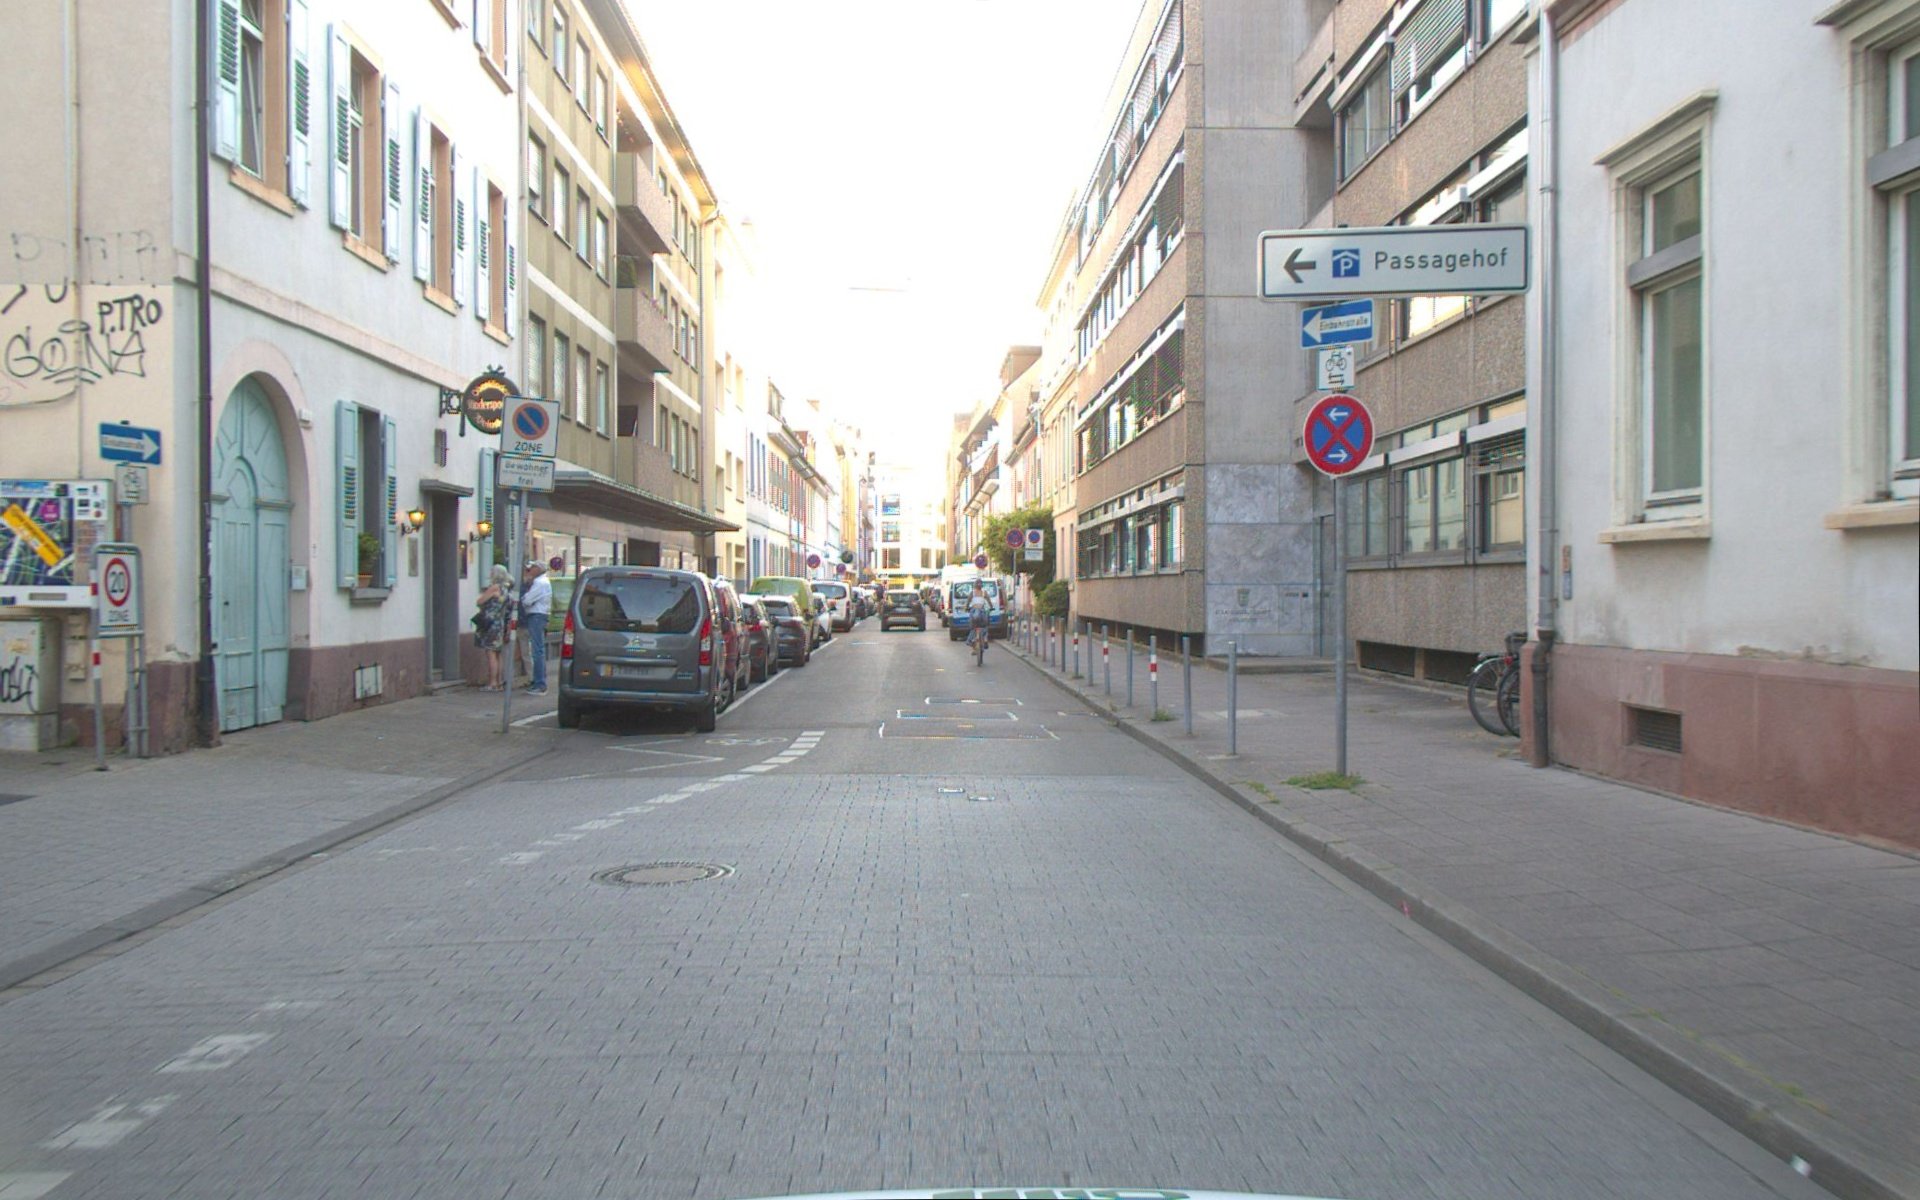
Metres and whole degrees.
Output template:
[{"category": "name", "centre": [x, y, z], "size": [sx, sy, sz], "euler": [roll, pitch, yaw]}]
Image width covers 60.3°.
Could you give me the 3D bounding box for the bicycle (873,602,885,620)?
[{"category": "bicycle", "centre": [-4.274, 0.556, 87.398], "size": [0.621, 0.938, 1.779], "euler": [0, 0, -1]}]

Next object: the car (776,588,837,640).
[{"category": "car", "centre": [-4.772, 0.411, 51.854], "size": [1.628, 1.474, 3.519], "euler": [3, 0, -2]}]

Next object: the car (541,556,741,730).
[{"category": "car", "centre": [-3.703, 0.453, 19.917], "size": [1.840, 1.843, 4.446], "euler": [1, 0, -5]}]

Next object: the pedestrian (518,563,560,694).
[{"category": "pedestrian", "centre": [-5.783, 0.383, 22.734], "size": [0.440, 1.780, 0.470], "euler": [0, 0, 0]}]

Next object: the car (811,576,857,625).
[{"category": "car", "centre": [-5.438, 0.016, 71.708], "size": [1.825, 2.049, 4.811], "euler": [0, 0, -3]}]

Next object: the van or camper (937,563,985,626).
[{"category": "van or camper", "centre": [0.010, -0.252, 73.813], "size": [2.008, 2.683, 7.061], "euler": [0, 0, -1]}]

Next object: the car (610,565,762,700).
[{"category": "car", "centre": [-4.040, 0.441, 25.039], "size": [1.737, 1.843, 4.508], "euler": [1, 0, -3]}]

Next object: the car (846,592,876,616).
[{"category": "car", "centre": [-6.375, 0.240, 106.898], "size": [1.880, 1.459, 4.291], "euler": [1, 0, -3]}]

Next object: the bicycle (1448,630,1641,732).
[{"category": "bicycle", "centre": [5.616, 0.770, 15.915], "size": [1.707, 0.939, 0.537], "euler": [0, 0, -9]}]

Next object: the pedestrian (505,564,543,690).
[{"category": "pedestrian", "centre": [-6.196, 0.378, 23.530], "size": [0.398, 1.780, 0.470], "euler": [0, 0, 0]}]

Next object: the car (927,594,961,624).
[{"category": "car", "centre": [-0.904, 0.493, 93.666], "size": [1.782, 1.556, 5.071], "euler": [-4, 0, 0]}]

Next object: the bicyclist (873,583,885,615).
[{"category": "bicyclist", "centre": [-4.267, -0.050, 87.412], "size": [0.611, 1.668, 1.081], "euler": [0, 0, -1]}]

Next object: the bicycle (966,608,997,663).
[{"category": "bicycle", "centre": [0.438, 0.728, 34.604], "size": [0.601, 1.101, 1.809], "euler": [0, 0, -1]}]

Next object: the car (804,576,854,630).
[{"category": "car", "centre": [-5.107, 0.098, 65.046], "size": [1.825, 2.049, 5.103], "euler": [0, 0, -3]}]

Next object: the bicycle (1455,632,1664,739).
[{"category": "bicycle", "centre": [5.460, 0.770, 15.094], "size": [1.762, 0.939, 0.537], "euler": [0, 0, -10]}]

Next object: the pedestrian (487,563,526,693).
[{"category": "pedestrian", "centre": [-6.287, 0.379, 22.959], "size": [0.398, 1.780, 0.470], "euler": [0, 0, 0]}]

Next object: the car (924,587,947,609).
[{"category": "car", "centre": [-1.859, -0.177, 123.908], "size": [1.620, 1.588, 3.604], "euler": [1, 0, -1]}]

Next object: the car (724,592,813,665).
[{"category": "car", "centre": [-3.979, 0.565, 34.797], "size": [1.592, 1.440, 3.978], "euler": [1, 0, -3]}]

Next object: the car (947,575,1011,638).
[{"category": "car", "centre": [0.575, 0.187, 53.957], "size": [1.897, 1.931, 5.275], "euler": [0, 0, -1]}]

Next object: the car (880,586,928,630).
[{"category": "car", "centre": [-2.213, 0.287, 65.549], "size": [1.783, 1.646, 3.998], "euler": [1, 0, -2]}]

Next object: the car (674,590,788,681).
[{"category": "car", "centre": [-4.066, 0.593, 29.823], "size": [1.591, 1.511, 3.876], "euler": [0, 0, -1]}]

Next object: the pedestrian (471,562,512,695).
[{"category": "pedestrian", "centre": [-6.338, 0.380, 22.378], "size": [0.398, 1.780, 0.470], "euler": [0, 0, 0]}]

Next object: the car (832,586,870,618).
[{"category": "car", "centre": [-5.863, 0.084, 89.166], "size": [1.766, 1.706, 4.489], "euler": [0, 0, 0]}]

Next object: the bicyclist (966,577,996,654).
[{"category": "bicyclist", "centre": [0.430, 0.325, 34.630], "size": [0.608, 1.602, 0.683], "euler": [0, 0, -1]}]

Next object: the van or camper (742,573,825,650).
[{"category": "van or camper", "centre": [-4.517, 0.277, 42.833], "size": [1.736, 1.880, 4.178], "euler": [0, 0, -1]}]
